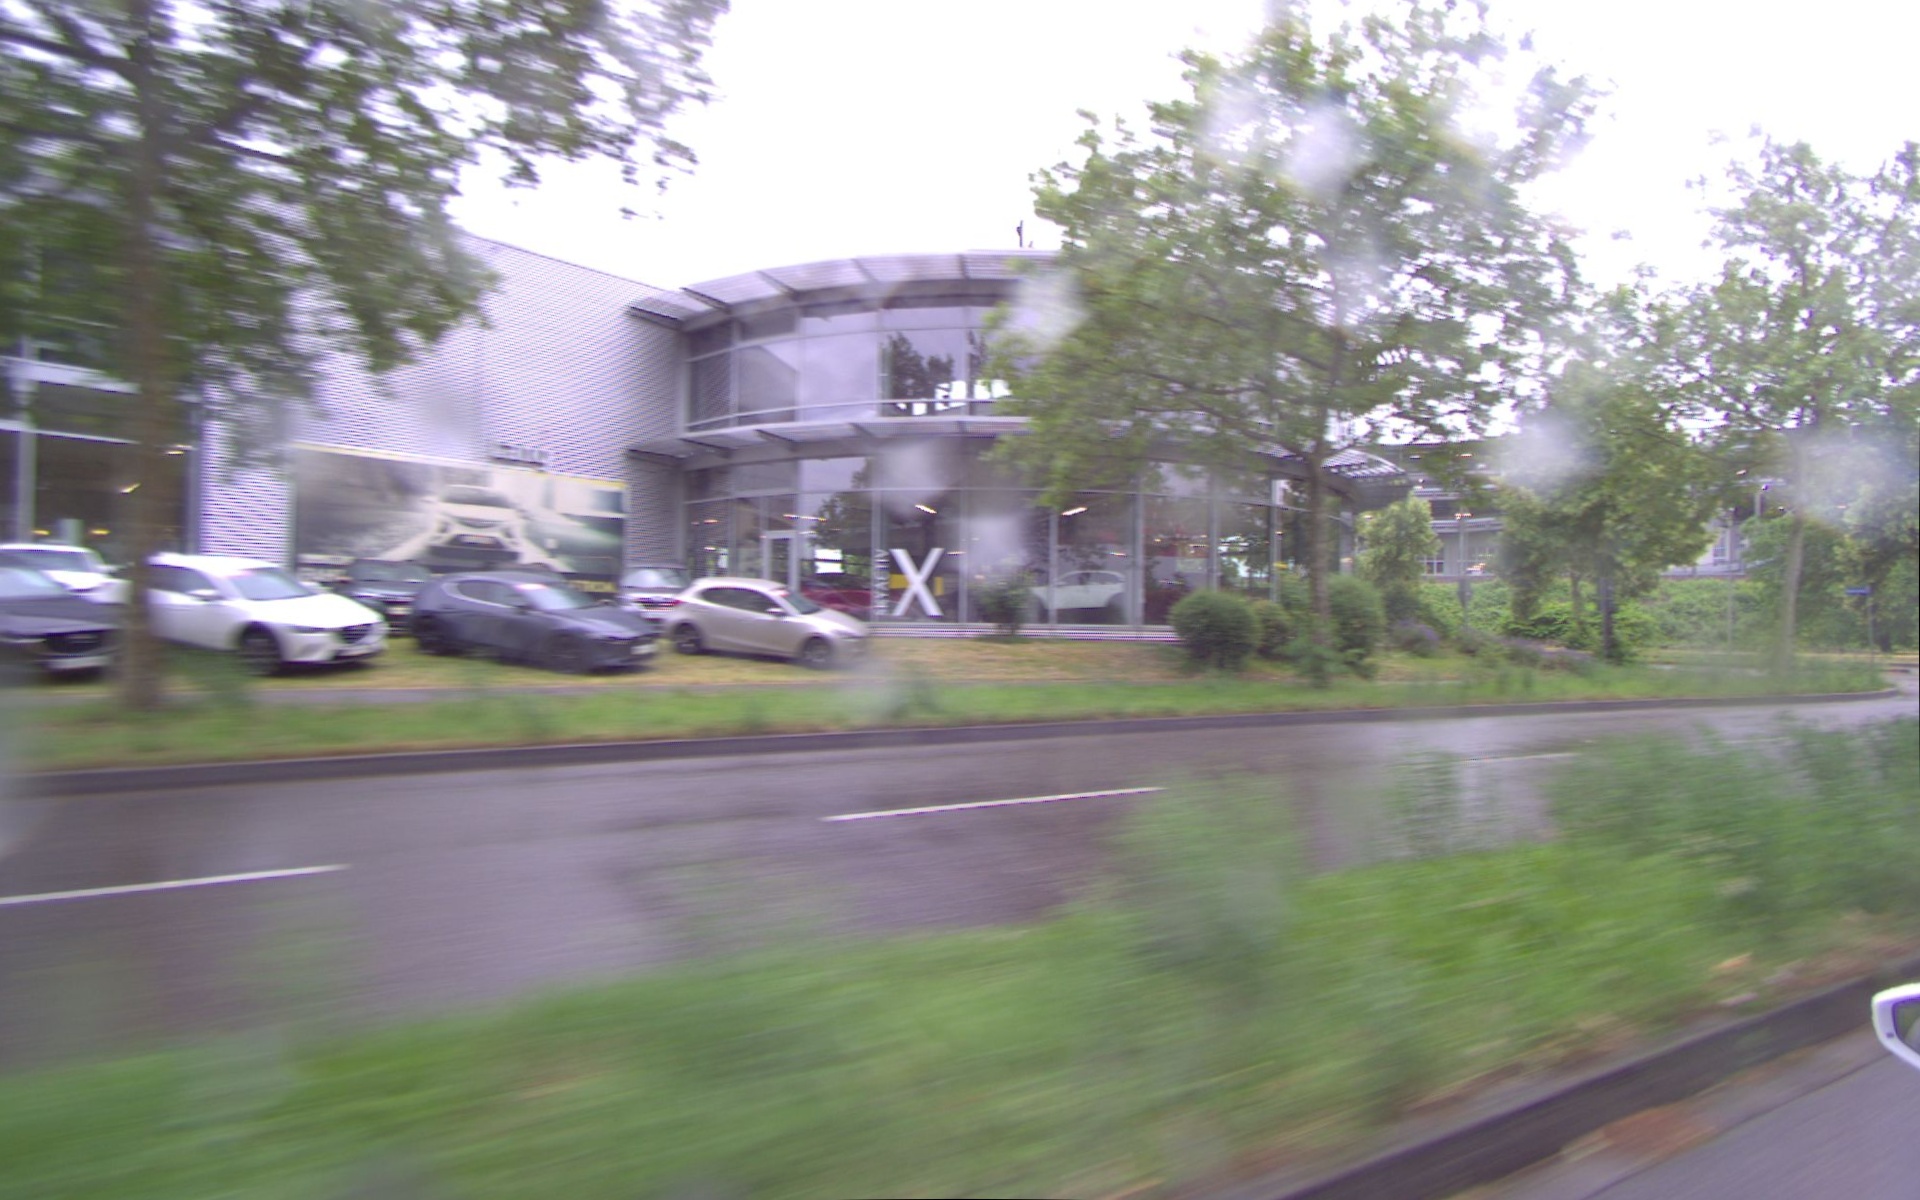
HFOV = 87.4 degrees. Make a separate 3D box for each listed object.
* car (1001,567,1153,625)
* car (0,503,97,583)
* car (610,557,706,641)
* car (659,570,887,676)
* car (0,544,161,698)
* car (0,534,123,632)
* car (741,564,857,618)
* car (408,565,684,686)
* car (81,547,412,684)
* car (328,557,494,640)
[{"bbox_3d":[3.236,-0.093,28.331,4.032,1.495,1.784,1,-1,-2],"label":"car"},{"bbox_3d":[-19.797,-1.138,21.173,4.372,1.493,1.910,1,-1,42],"label":"car"},{"bbox_3d":[-7.003,0.000,23.690,1.887,1.761,4.424,1,-1,-13],"label":"car"},{"bbox_3d":[-3.563,0.394,19.489,3.920,1.496,1.785,6,6,7],"label":"car"},{"bbox_3d":[-13.114,0.149,13.523,4.049,1.499,1.847,7,6,19],"label":"car"},{"bbox_3d":[-15.810,-0.262,17.395,1.905,1.493,4.382,2,-1,-41],"label":"car"},{"bbox_3d":[-4.844,-0.236,30.263,3.072,1.495,1.598,2,-1,-35],"label":"car"},{"bbox_3d":[-7.043,0.349,17.184,4.048,1.442,1.847,6,6,15],"label":"car"},{"bbox_3d":[-10.819,0.151,15.335,4.047,1.499,1.848,6,6,12],"label":"car"},{"bbox_3d":[-11.170,-0.010,20.809,1.887,1.493,4.424,1,-1,-13],"label":"car"}]
